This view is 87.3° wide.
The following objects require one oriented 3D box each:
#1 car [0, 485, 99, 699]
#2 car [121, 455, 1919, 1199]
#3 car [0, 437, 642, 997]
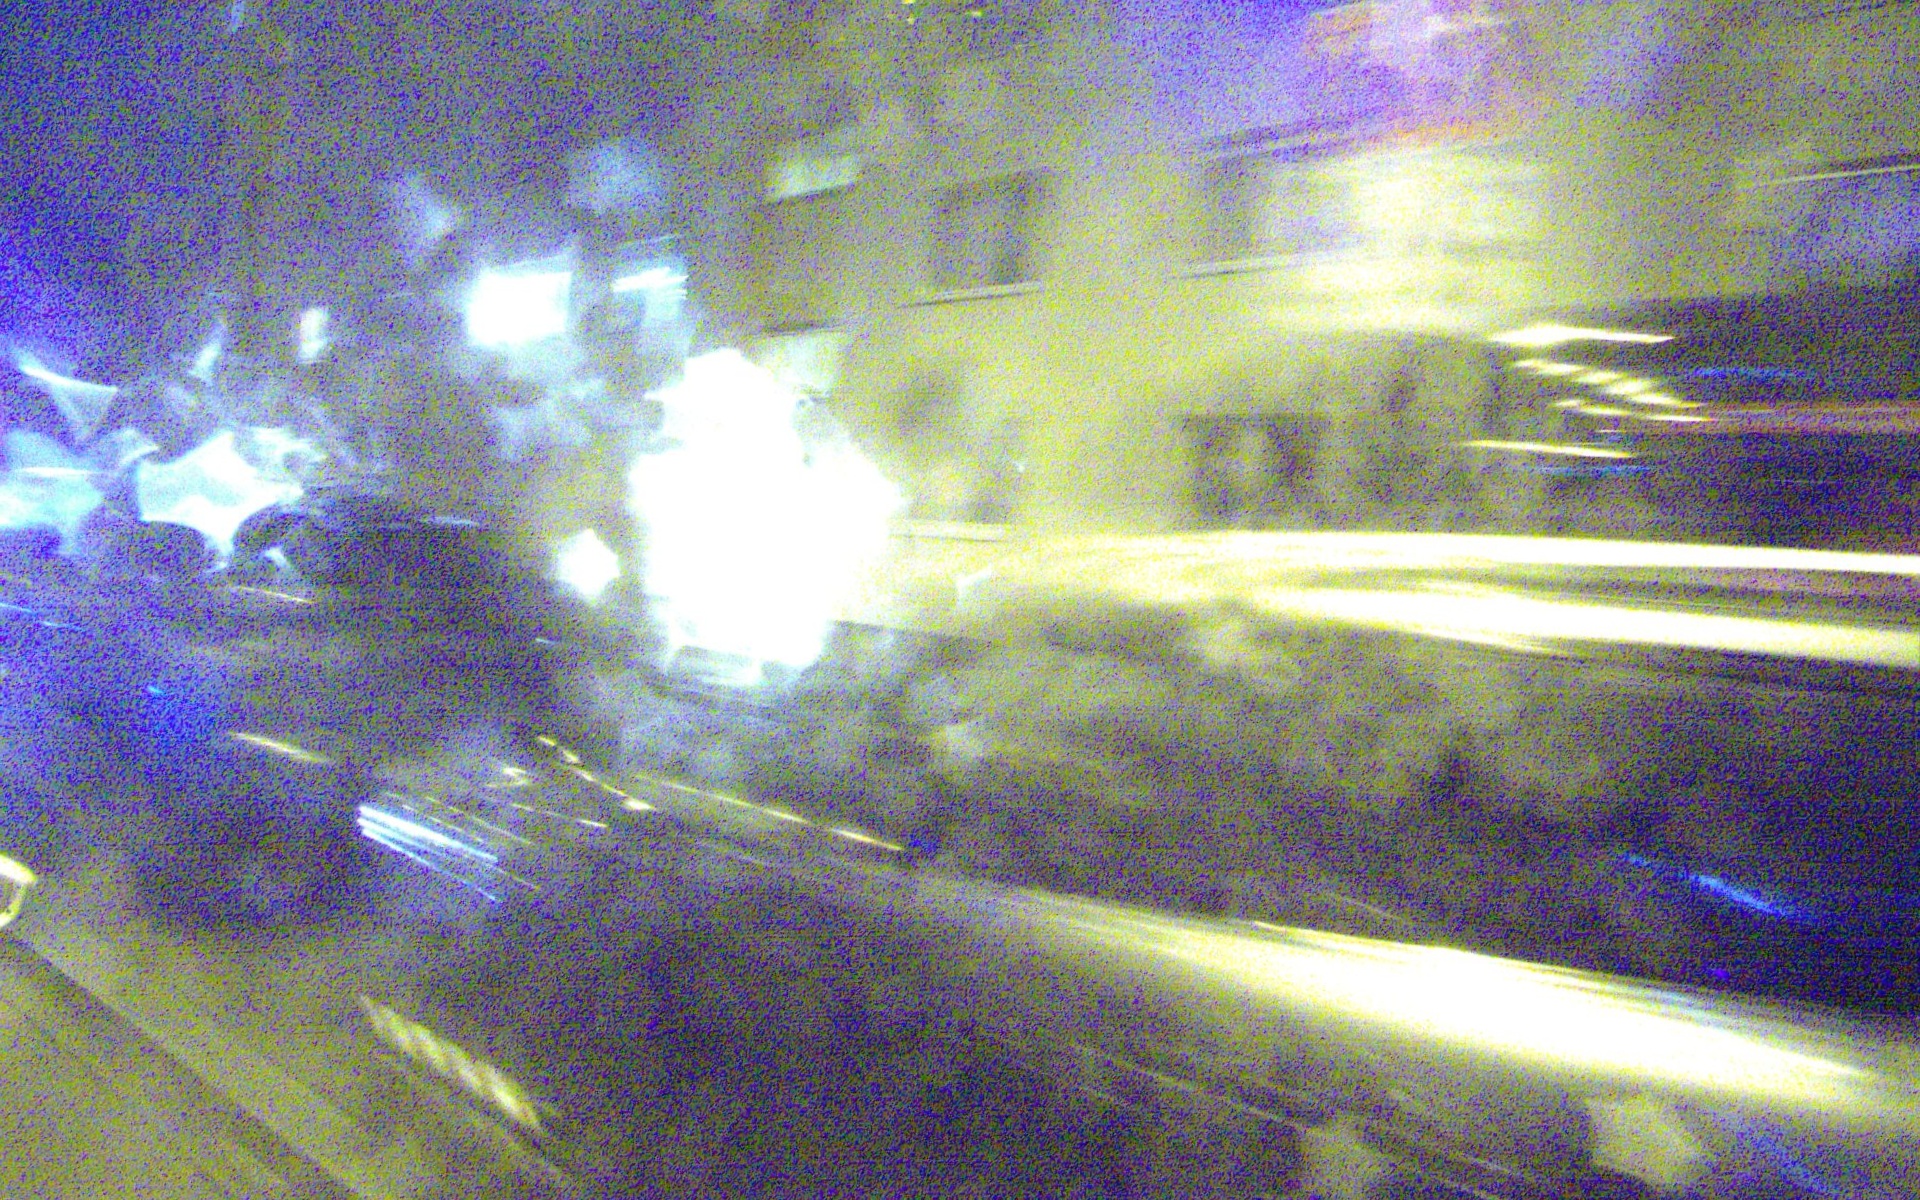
[{"bbox_3d":[-8.577,-0.284,7.580,4.413,1.440,1.823,7,2,31],"label":"car"},{"bbox_3d":[0.261,0.653,2.333,4.967,1.551,1.800,7,2,31],"label":"car"},{"bbox_3d":[-3.854,0.182,4.910,4.413,1.659,1.823,7,2,31],"label":"car"}]
